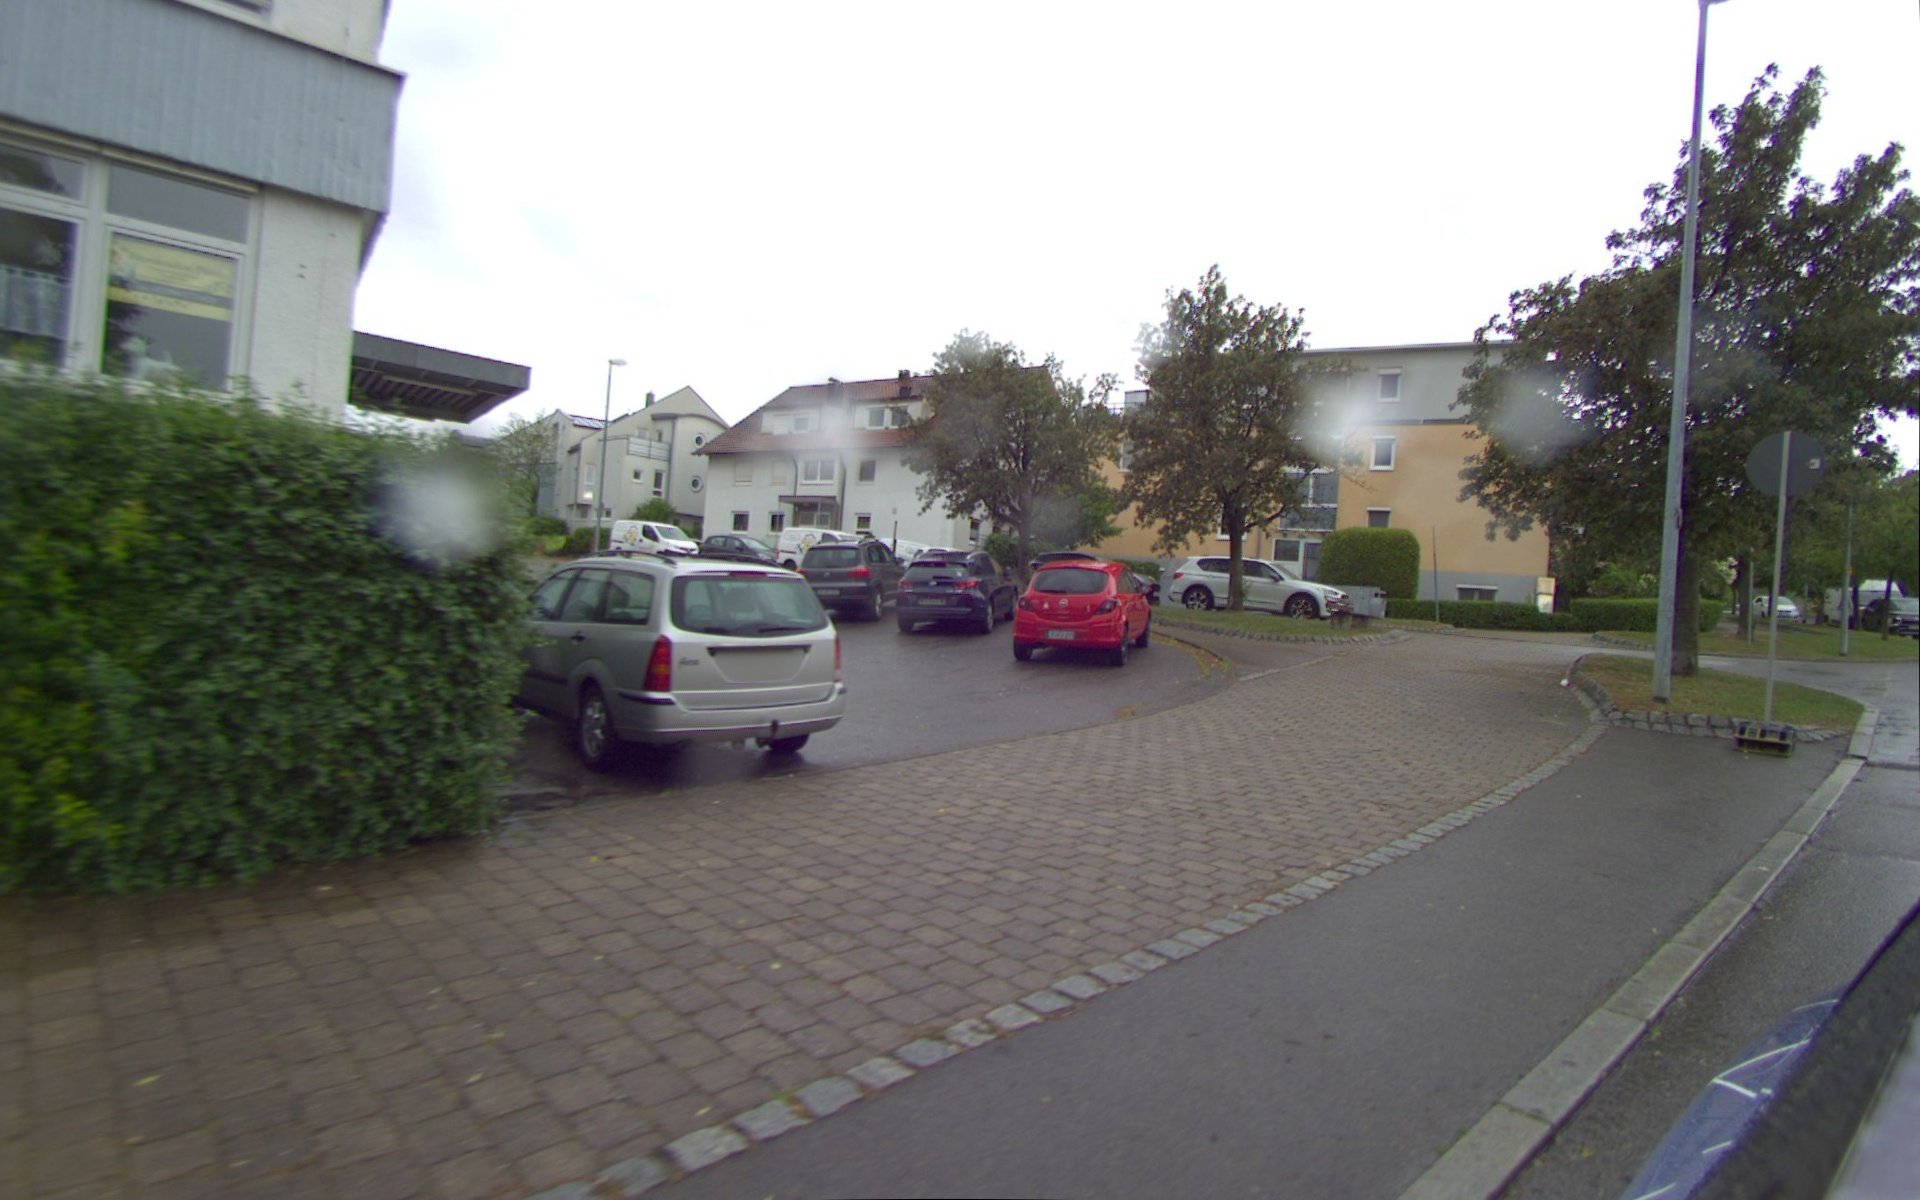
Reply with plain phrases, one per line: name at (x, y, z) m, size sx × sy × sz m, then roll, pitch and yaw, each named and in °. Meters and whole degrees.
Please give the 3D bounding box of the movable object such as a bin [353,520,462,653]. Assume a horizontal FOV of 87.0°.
movable object such as a bin at (-6.831, -0.191, 12.487) m, size 1.009 × 1.513 × 1.310 m, roll 1°, pitch 4°, yaw -36°

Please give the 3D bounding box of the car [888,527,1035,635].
car at (0.174, -0.510, 20.200) m, size 1.831 × 1.602 × 4.818 m, roll 2°, pitch 7°, yaw 14°

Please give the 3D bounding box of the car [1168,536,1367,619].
car at (8.193, -0.661, 27.105) m, size 4.681 × 1.836 × 1.925 m, roll 5°, pitch 4°, yaw 32°

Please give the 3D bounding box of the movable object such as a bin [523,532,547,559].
movable object such as a bin at (-23.183, -2.973, 55.162) m, size 0.957 × 1.413 × 0.768 m, roll 3°, pitch 2°, yaw 30°

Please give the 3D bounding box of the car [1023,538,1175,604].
car at (4.095, -0.870, 29.933) m, size 3.988 × 1.754 × 1.934 m, roll 3°, pitch 1°, yaw 31°

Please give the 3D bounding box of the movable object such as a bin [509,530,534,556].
movable object such as a bin at (-24.263, -3.167, 56.013) m, size 1.033 × 1.419 × 0.768 m, roll 3°, pitch 2°, yaw 30°

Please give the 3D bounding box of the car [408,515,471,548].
car at (-30.225, -3.980, 58.753) m, size 3.985 × 1.720 × 1.903 m, roll 6°, pitch 4°, yaw 41°

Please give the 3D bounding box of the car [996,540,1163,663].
car at (2.083, -0.121, 16.439) m, size 1.834 × 1.603 × 4.304 m, roll 2°, pitch 5°, yaw 18°

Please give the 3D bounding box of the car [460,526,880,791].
car at (-2.640, 0.236, 8.381) m, size 1.825 × 1.604 × 4.324 m, roll 0°, pitch 3°, yaw -38°

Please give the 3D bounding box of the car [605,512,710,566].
car at (-12.410, -2.503, 41.451) m, size 4.131 × 1.994 × 1.931 m, roll 3°, pitch 1°, yaw 35°

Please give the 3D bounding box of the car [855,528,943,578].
car at (-2.719, -2.114, 46.075) m, size 1.987 × 2.038 × 3.953 m, roll 5°, pitch 3°, yaw 33°

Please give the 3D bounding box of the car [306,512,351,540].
car at (-45.805, -5.336, 73.379) m, size 2.156 × 1.898 × 3.994 m, roll 1°, pitch 2°, yaw -42°

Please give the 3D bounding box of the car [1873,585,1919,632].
car at (38.683, 0.331, 40.995) m, size 1.805 × 1.748 × 4.596 m, roll 3°, pitch 3°, yaw 34°

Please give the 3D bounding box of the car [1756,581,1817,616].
car at (48.567, -0.121, 59.534) m, size 1.806 × 1.807 × 3.788 m, roll 3°, pitch 3°, yaw 25°

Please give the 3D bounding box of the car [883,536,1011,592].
car at (-0.442, -1.184, 33.017) m, size 3.803 × 1.689 × 1.813 m, roll 3°, pitch 2°, yaw 33°

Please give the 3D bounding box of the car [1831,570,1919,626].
car at (41.772, -0.124, 46.089) m, size 2.037 × 2.360 × 5.352 m, roll 3°, pitch 2°, yaw 29°

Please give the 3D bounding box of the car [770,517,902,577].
car at (-4.410, -1.881, 35.802) m, size 4.392 × 1.953 × 1.908 m, roll 3°, pitch 1°, yaw 34°

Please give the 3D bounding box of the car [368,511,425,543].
car at (-34.928, -4.550, 62.712) m, size 3.986 × 1.762 × 1.876 m, roll 6°, pitch 4°, yaw 42°

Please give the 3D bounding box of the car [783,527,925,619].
car at (-2.237, -0.698, 22.688) m, size 1.830 × 1.819 × 4.447 m, roll 0°, pitch 4°, yaw 12°

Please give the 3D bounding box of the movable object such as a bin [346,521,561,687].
movable object such as a bin at (-5.482, -0.028, 10.856) m, size 1.700 × 1.521 × 2.275 m, roll 1°, pitch 4°, yaw -36°

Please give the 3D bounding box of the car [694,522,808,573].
car at (-7.902, -1.978, 38.199) m, size 3.993 × 1.754 × 1.931 m, roll 3°, pitch 1°, yaw 34°
